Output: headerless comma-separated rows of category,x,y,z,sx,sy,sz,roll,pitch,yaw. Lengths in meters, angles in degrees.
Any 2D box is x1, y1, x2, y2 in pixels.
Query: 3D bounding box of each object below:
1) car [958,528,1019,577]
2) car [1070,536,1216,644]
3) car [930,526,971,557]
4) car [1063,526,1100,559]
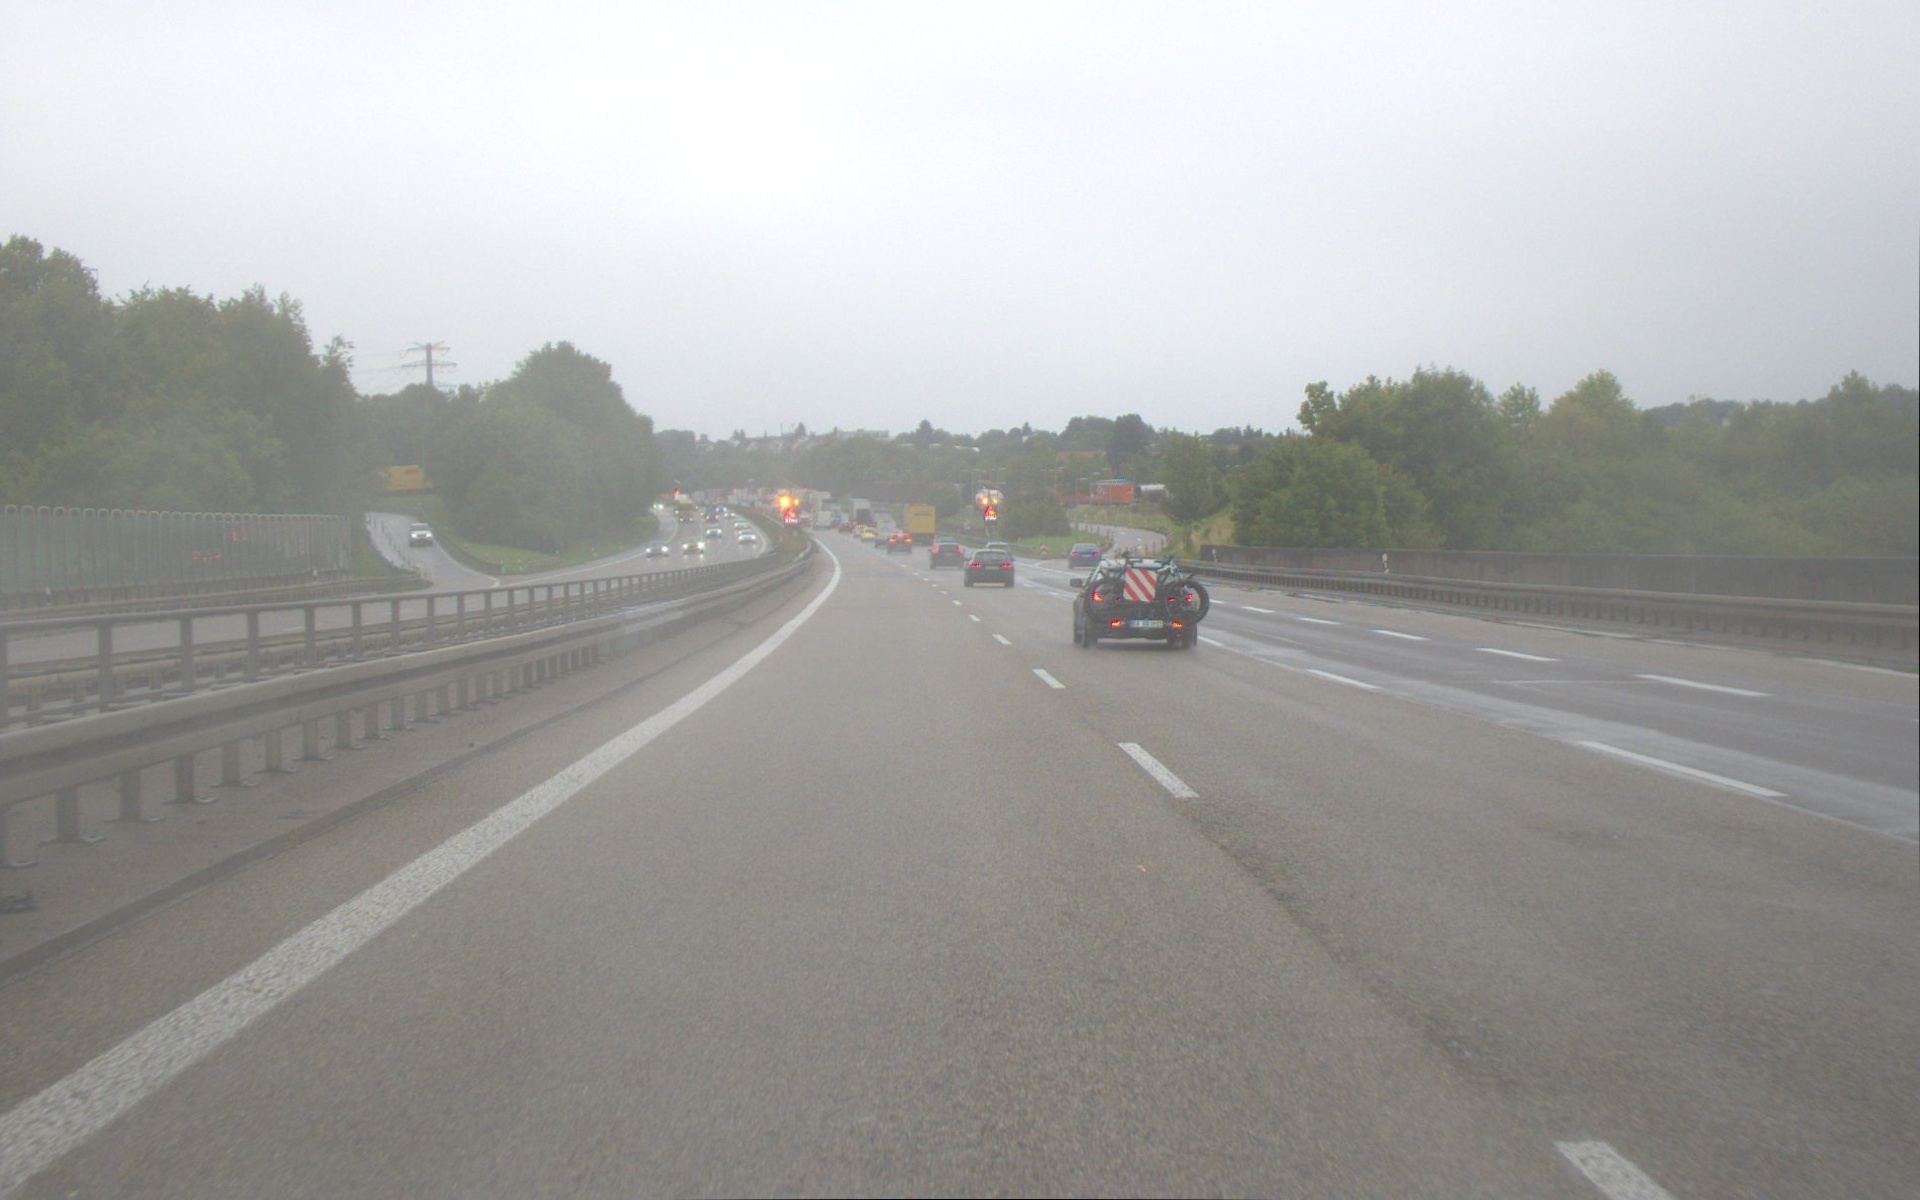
car,1.061,-1.814,130.202,1.993,1.755,4.001,-2,2,-3
car,2.914,-0.202,55.873,2.057,1.665,5.522,0,1,0
car,-0.554,-3.243,190.062,1.993,1.623,4.001,-2,2,-3
car,6.787,-3.210,191.832,1.922,1.703,4.000,-1,2,3
